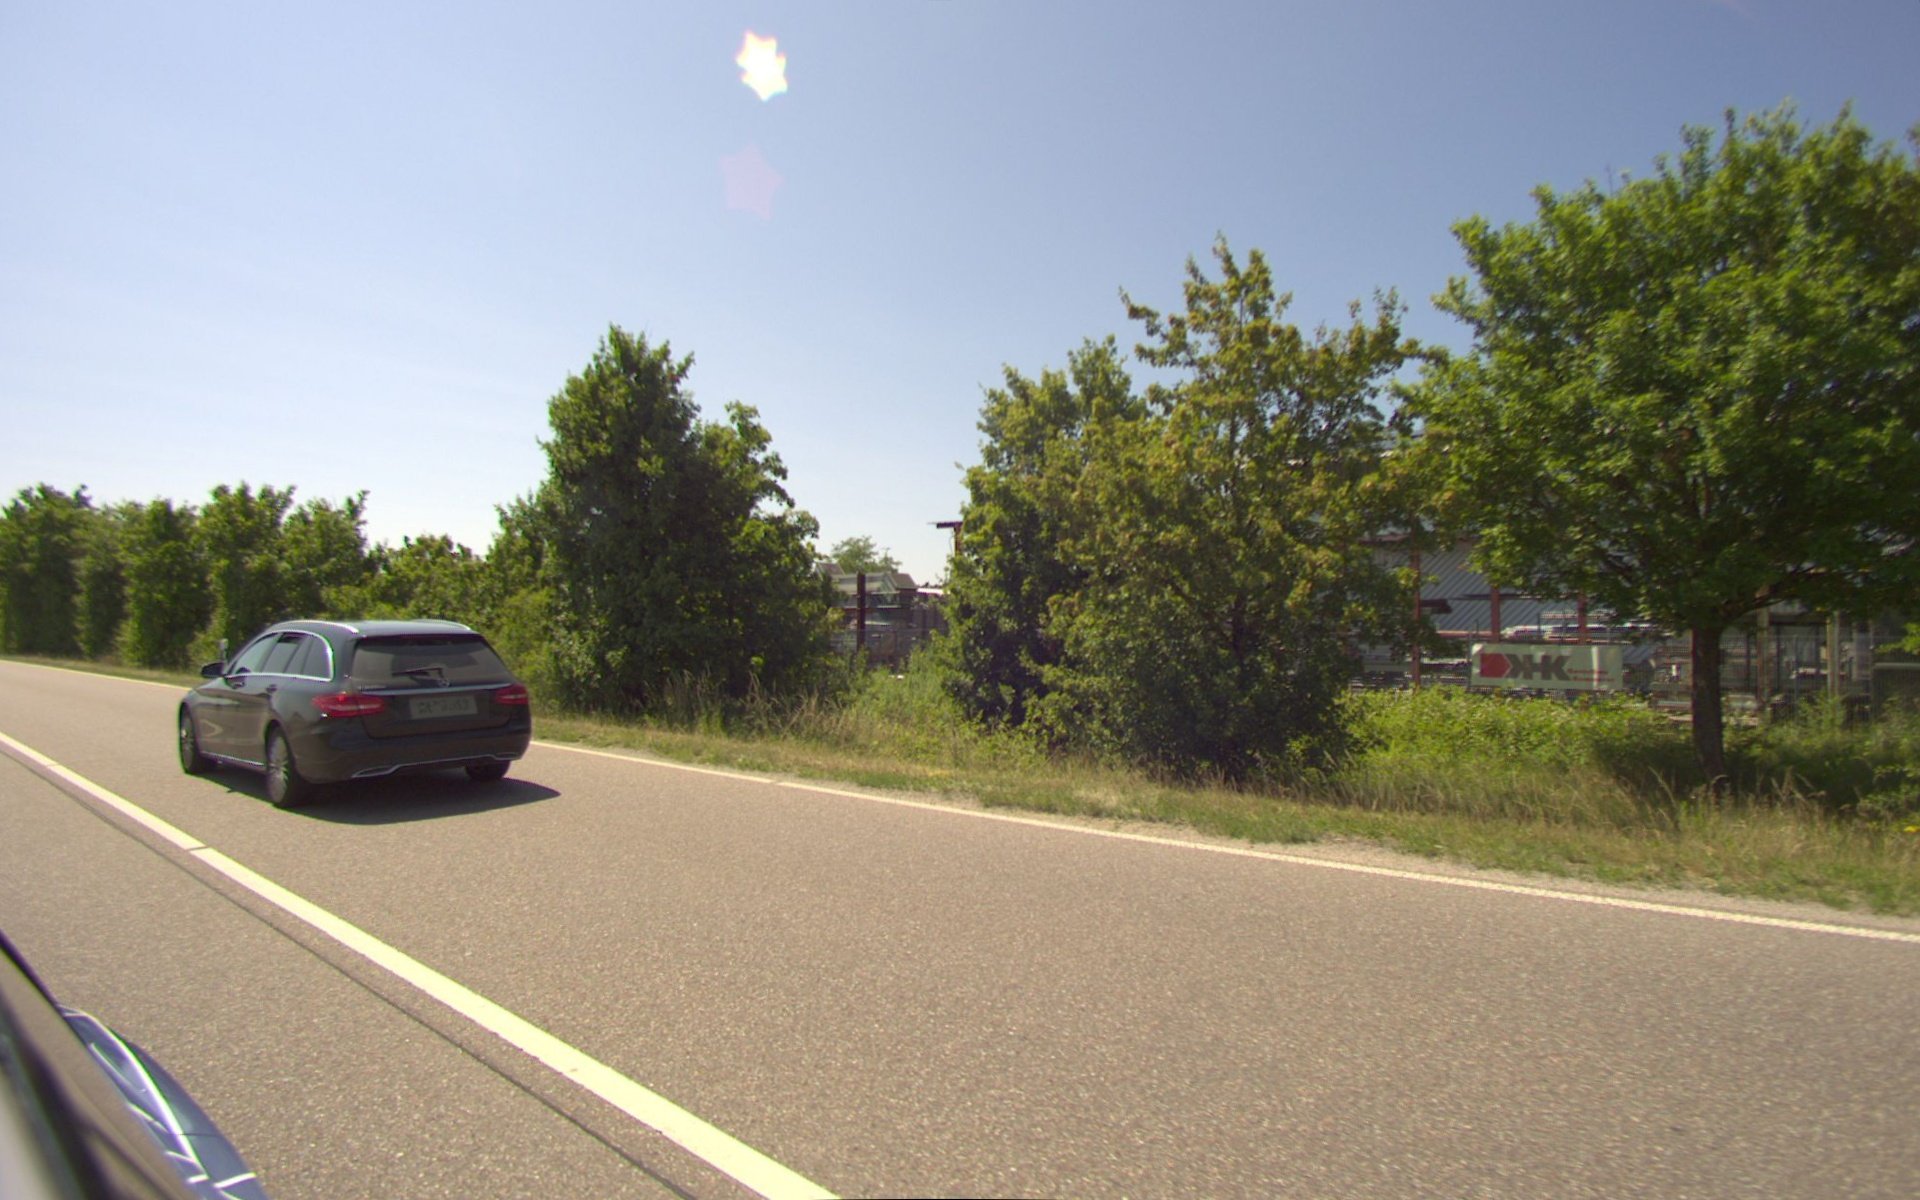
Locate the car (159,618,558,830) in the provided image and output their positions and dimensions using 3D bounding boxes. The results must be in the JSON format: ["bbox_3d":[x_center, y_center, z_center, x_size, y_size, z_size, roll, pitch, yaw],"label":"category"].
[{"bbox_3d":[-5.563,0.902,9.087,4.531,1.431,1.763,-2,-1,41],"label":"car"}]
